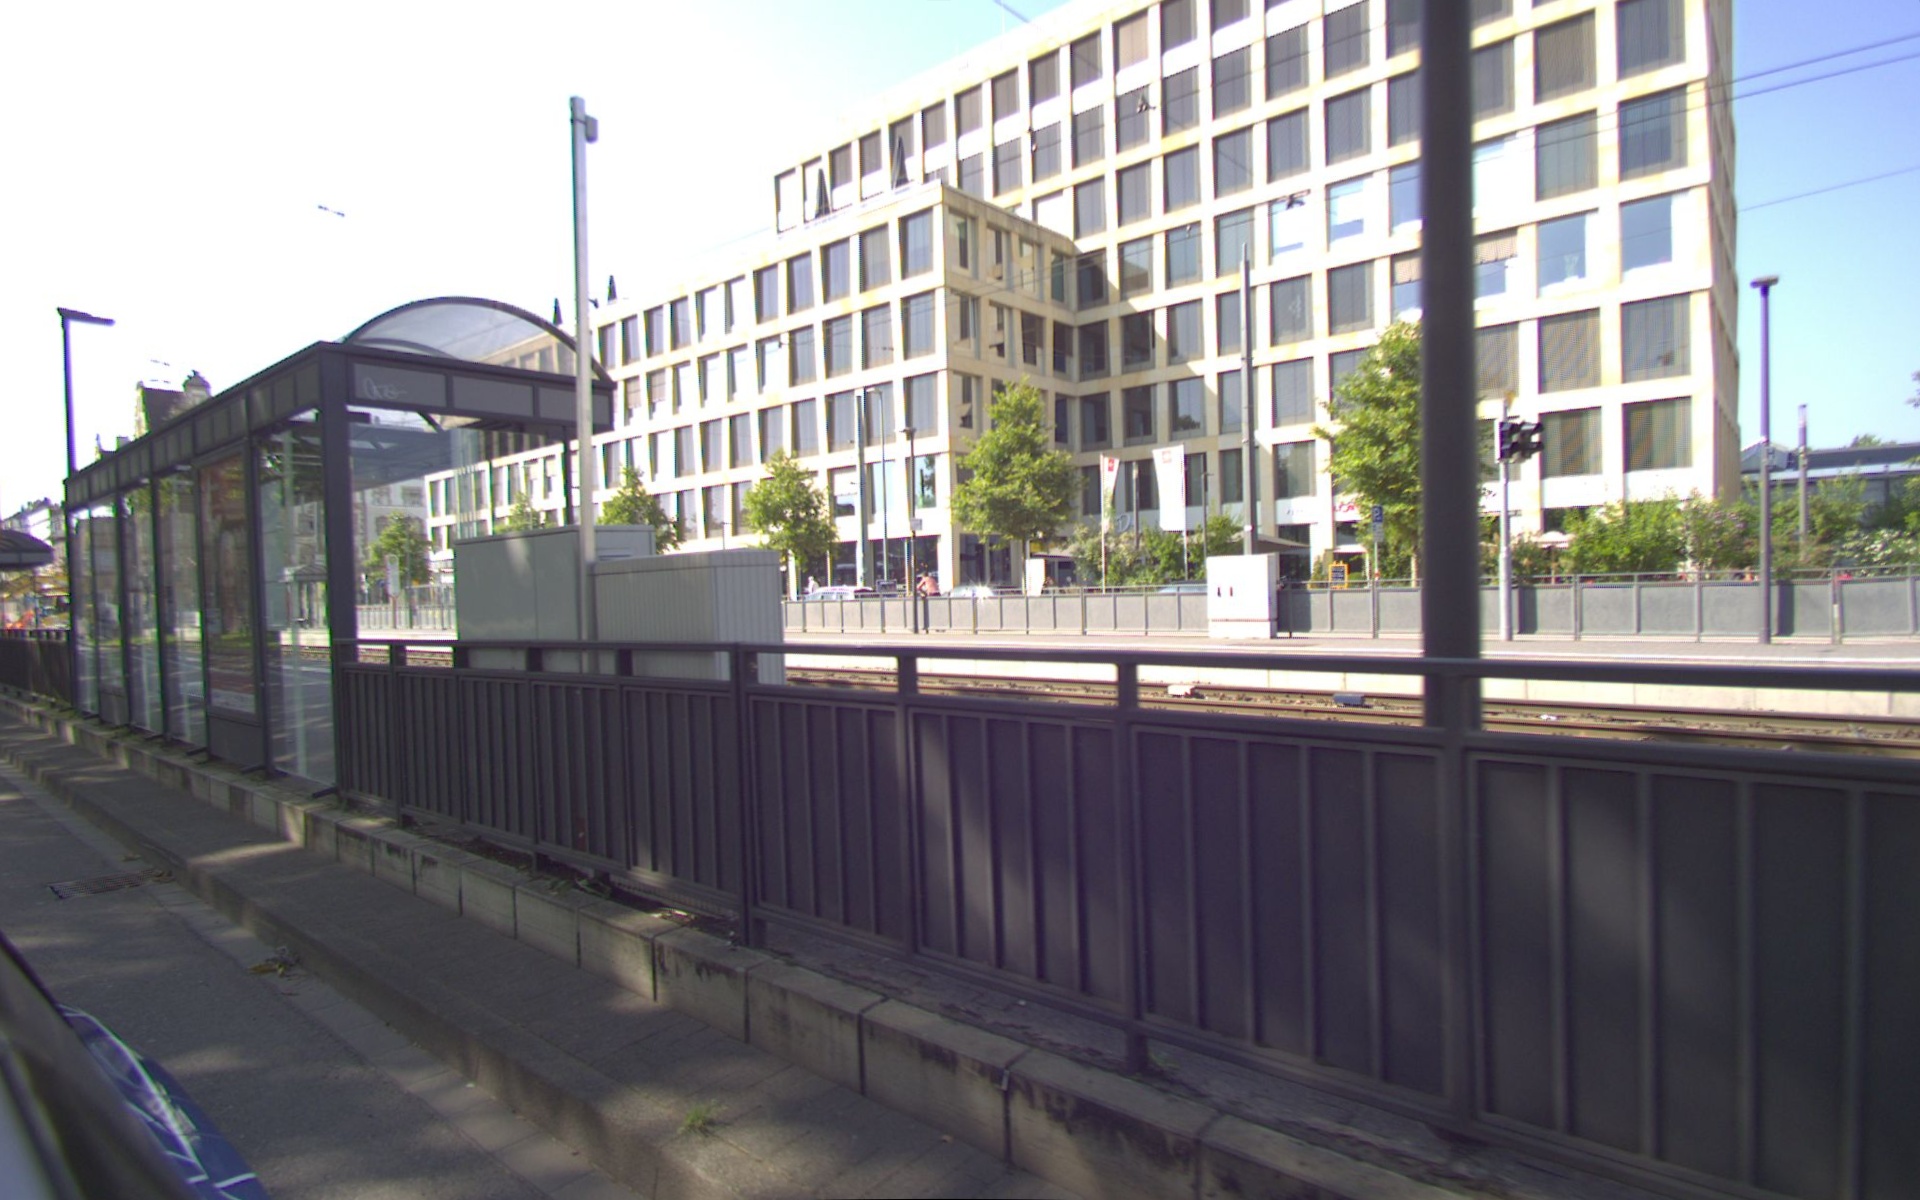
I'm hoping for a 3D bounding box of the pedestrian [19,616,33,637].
[{"bbox_3d":[-76.511,2.153,82.906,0.678,1.715,0.743,-2,0,40],"label":"pedestrian"}]

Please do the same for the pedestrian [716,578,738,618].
[{"bbox_3d":[-11.895,-0.112,51.592,0.822,2.029,0.758,0,-1,44],"label":"pedestrian"}]

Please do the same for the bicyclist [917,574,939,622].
[{"bbox_3d":[-0.926,-0.054,29.290,0.447,1.371,0.383,-2,0,41],"label":"bicyclist"}]

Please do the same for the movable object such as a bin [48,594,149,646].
[{"bbox_3d":[-58.483,1.334,68.792,3.548,3.247,4.091,-2,0,25],"label":"movable object such as a bin"}]

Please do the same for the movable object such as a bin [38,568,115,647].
[{"bbox_3d":[-53.715,0.473,61.502,4.211,4.588,2.955,-2,0,43],"label":"movable object such as a bin"}]
